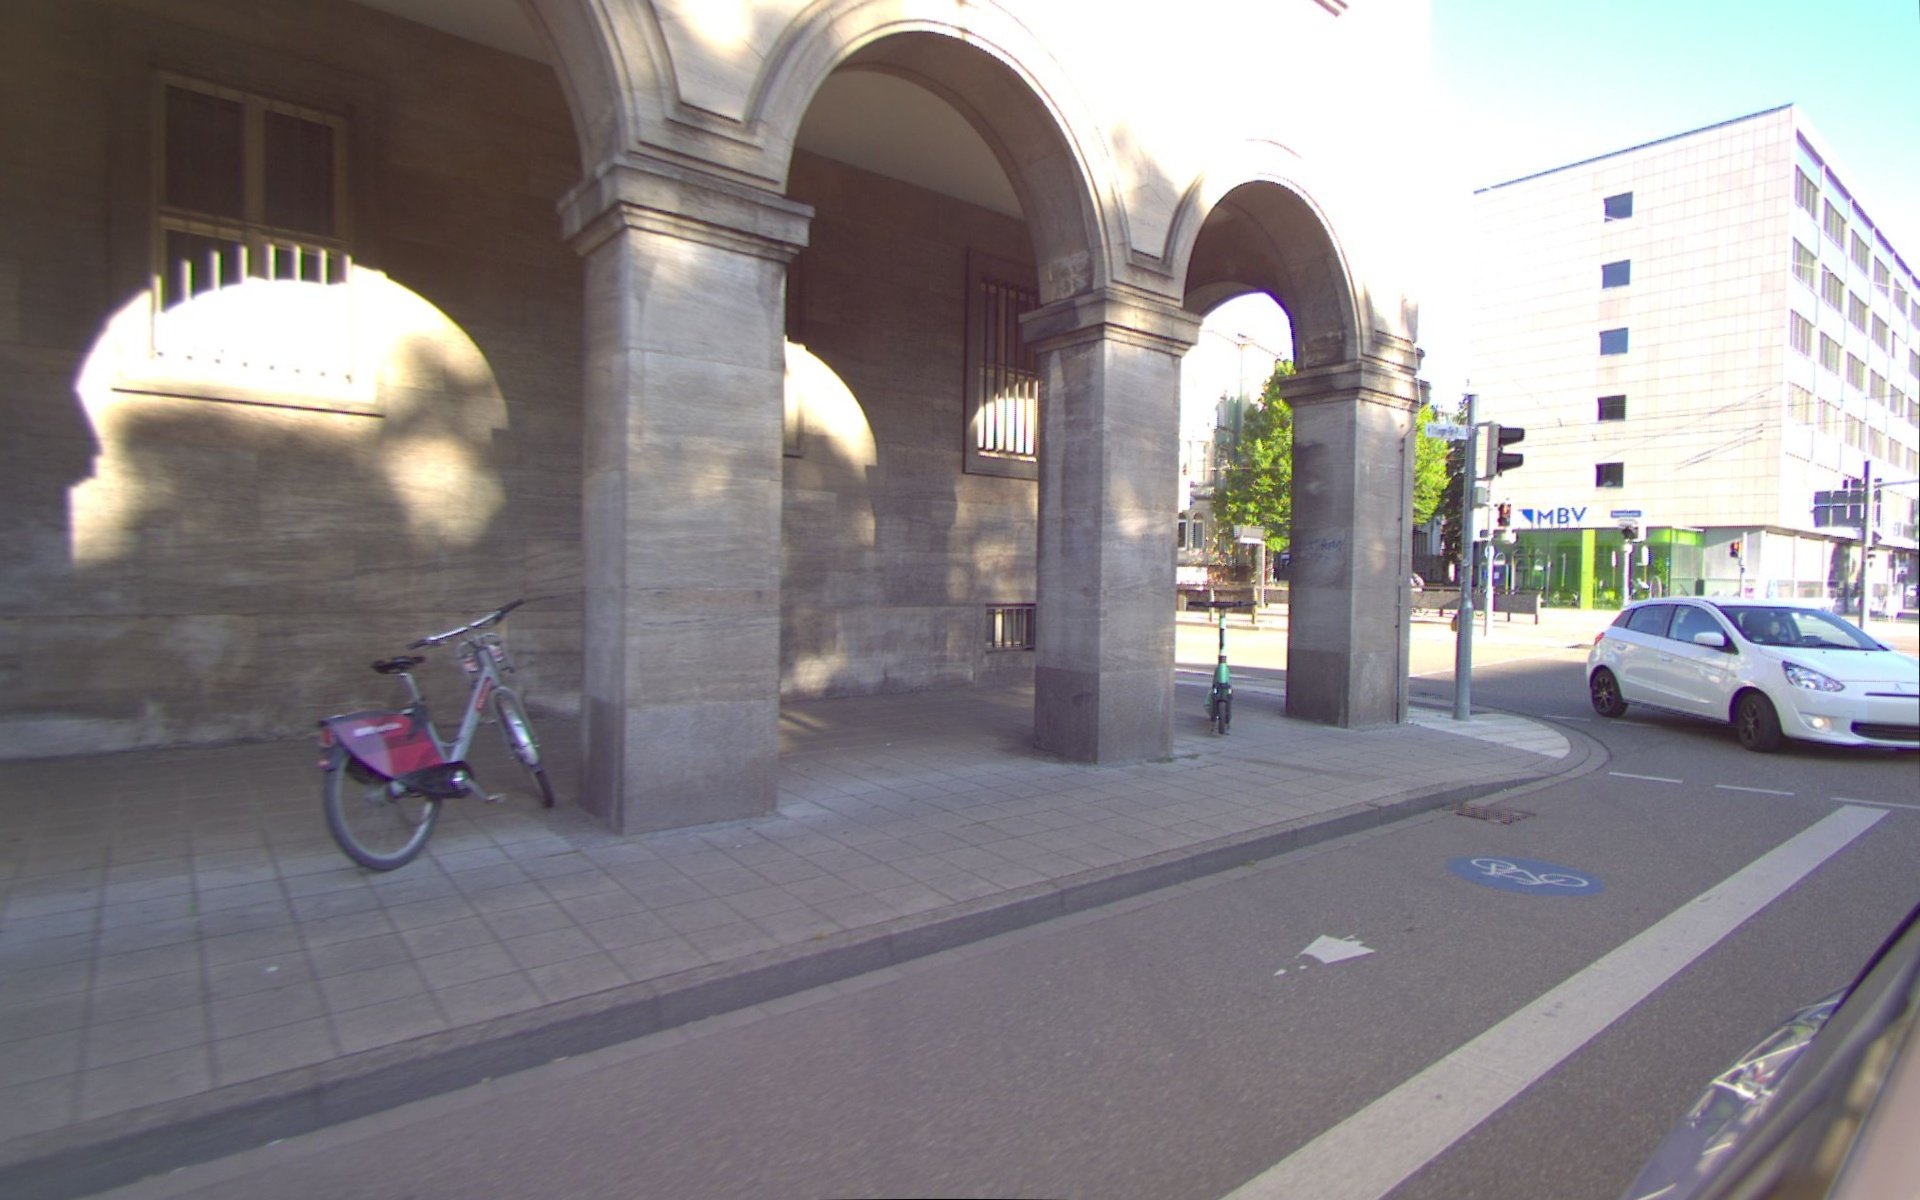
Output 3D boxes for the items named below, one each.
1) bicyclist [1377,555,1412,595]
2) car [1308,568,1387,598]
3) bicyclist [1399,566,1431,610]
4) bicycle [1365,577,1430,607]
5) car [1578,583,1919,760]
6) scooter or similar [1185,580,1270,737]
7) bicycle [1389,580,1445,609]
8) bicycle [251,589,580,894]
[{"bbox_3d":[16.970,-0.976,39.537,0.889,1.524,0.890,0,4,-3],"label":"bicyclist"},{"bbox_3d":[22.910,-1.049,59.930,1.712,1.604,3.992,-3,4,-43],"label":"car"},{"bbox_3d":[18.422,-0.492,40.972,0.930,1.710,0.763,1,4,8],"label":"bicyclist"},{"bbox_3d":[17.097,-0.323,39.596,2.140,1.080,0.885,0,4,-2],"label":"bicycle"},{"bbox_3d":[8.535,0.606,10.817,1.649,1.482,3.764,0,2,3],"label":"car"},{"bbox_3d":[2.430,0.476,9.154,0.633,1.238,1.258,3,4,16],"label":"scooter or similar"},{"bbox_3d":[18.461,-0.236,40.939,1.876,1.080,0.754,1,4,9],"label":"bicycle"},{"bbox_3d":[-2.523,0.564,4.939,0.652,1.147,1.714,2,3,1],"label":"bicycle"}]
